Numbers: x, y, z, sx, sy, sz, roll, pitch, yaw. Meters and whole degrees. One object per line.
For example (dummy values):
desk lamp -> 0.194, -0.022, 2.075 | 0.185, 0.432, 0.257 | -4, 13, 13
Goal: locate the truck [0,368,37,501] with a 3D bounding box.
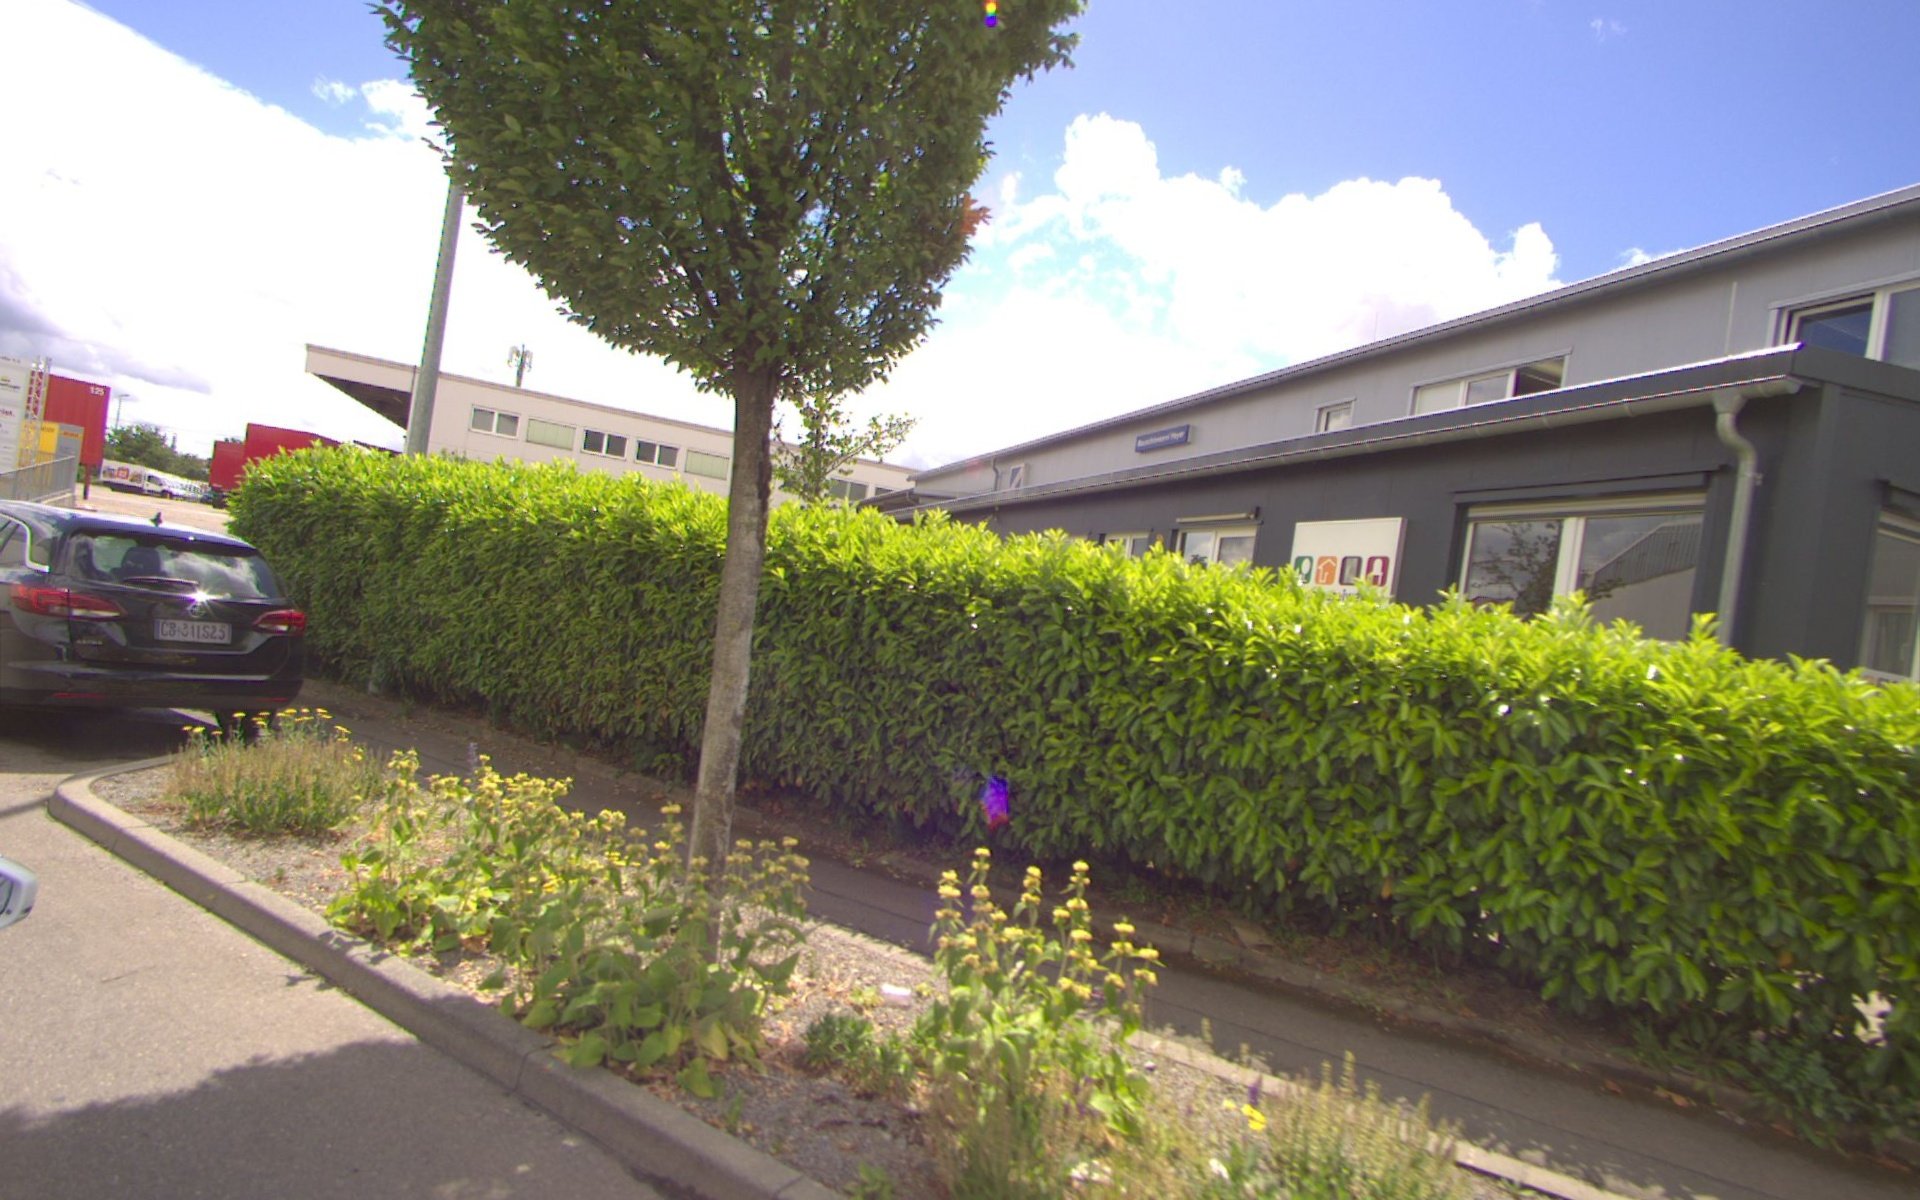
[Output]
truck -> -39.242, -6.690, 36.118 | 8.408, 4.725, 2.557 | 8, -2, -37

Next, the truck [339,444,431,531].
truck -> -36.057, -6.912, 63.443 | 2.955, 4.106, 8.450 | 7, -2, -18

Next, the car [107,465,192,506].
car -> -72.136, -10.148, 89.703 | 5.610, 2.571, 1.981 | 8, -2, -37

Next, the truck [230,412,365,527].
truck -> -31.983, -6.115, 49.004 | 2.955, 4.106, 8.450 | 7, -2, -18

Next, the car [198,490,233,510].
car -> -68.620, -9.205, 92.770 | 1.680, 1.473, 4.283 | 7, 0, -26

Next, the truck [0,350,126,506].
truck -> -32.811, -5.924, 34.120 | 7.713, 4.501, 2.585 | 6, -1, 15

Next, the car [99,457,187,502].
car -> -70.619, -10.378, 87.064 | 5.610, 2.708, 1.981 | 8, -2, -37

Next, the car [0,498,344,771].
car -> -6.690, 0.058, 7.455 | 4.436, 1.491, 1.717 | 7, -1, 32

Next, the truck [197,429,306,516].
truck -> -45.052, -7.943, 64.277 | 2.955, 4.106, 8.450 | 7, -2, -18
